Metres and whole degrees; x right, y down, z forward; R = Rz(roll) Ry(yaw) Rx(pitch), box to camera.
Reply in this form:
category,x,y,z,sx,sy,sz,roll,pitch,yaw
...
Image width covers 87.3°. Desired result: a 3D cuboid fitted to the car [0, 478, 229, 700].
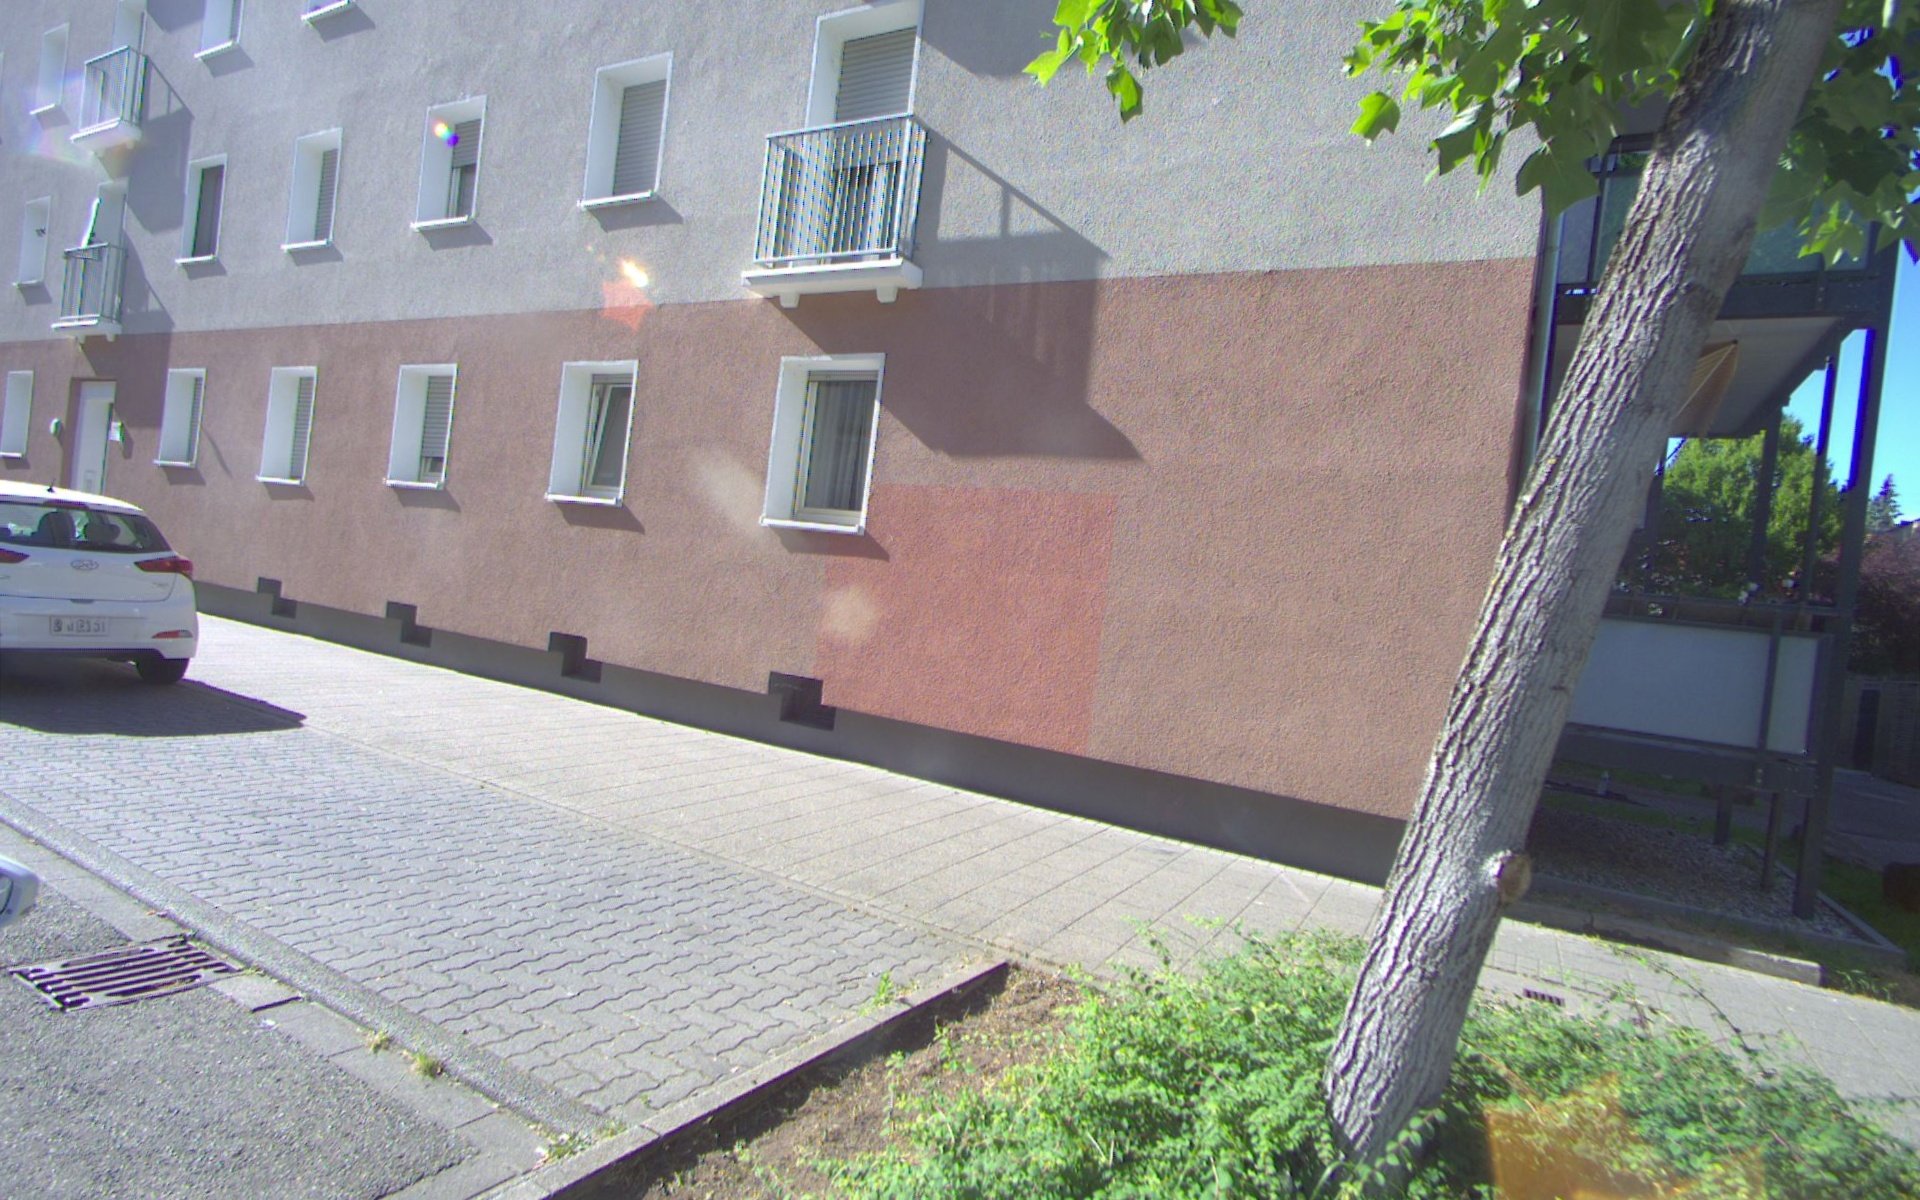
category,x,y,z,sx,sy,sz,roll,pitch,yaw
car,-7.918,-0.243,8.163,3.729,1.505,1.733,7,2,29
